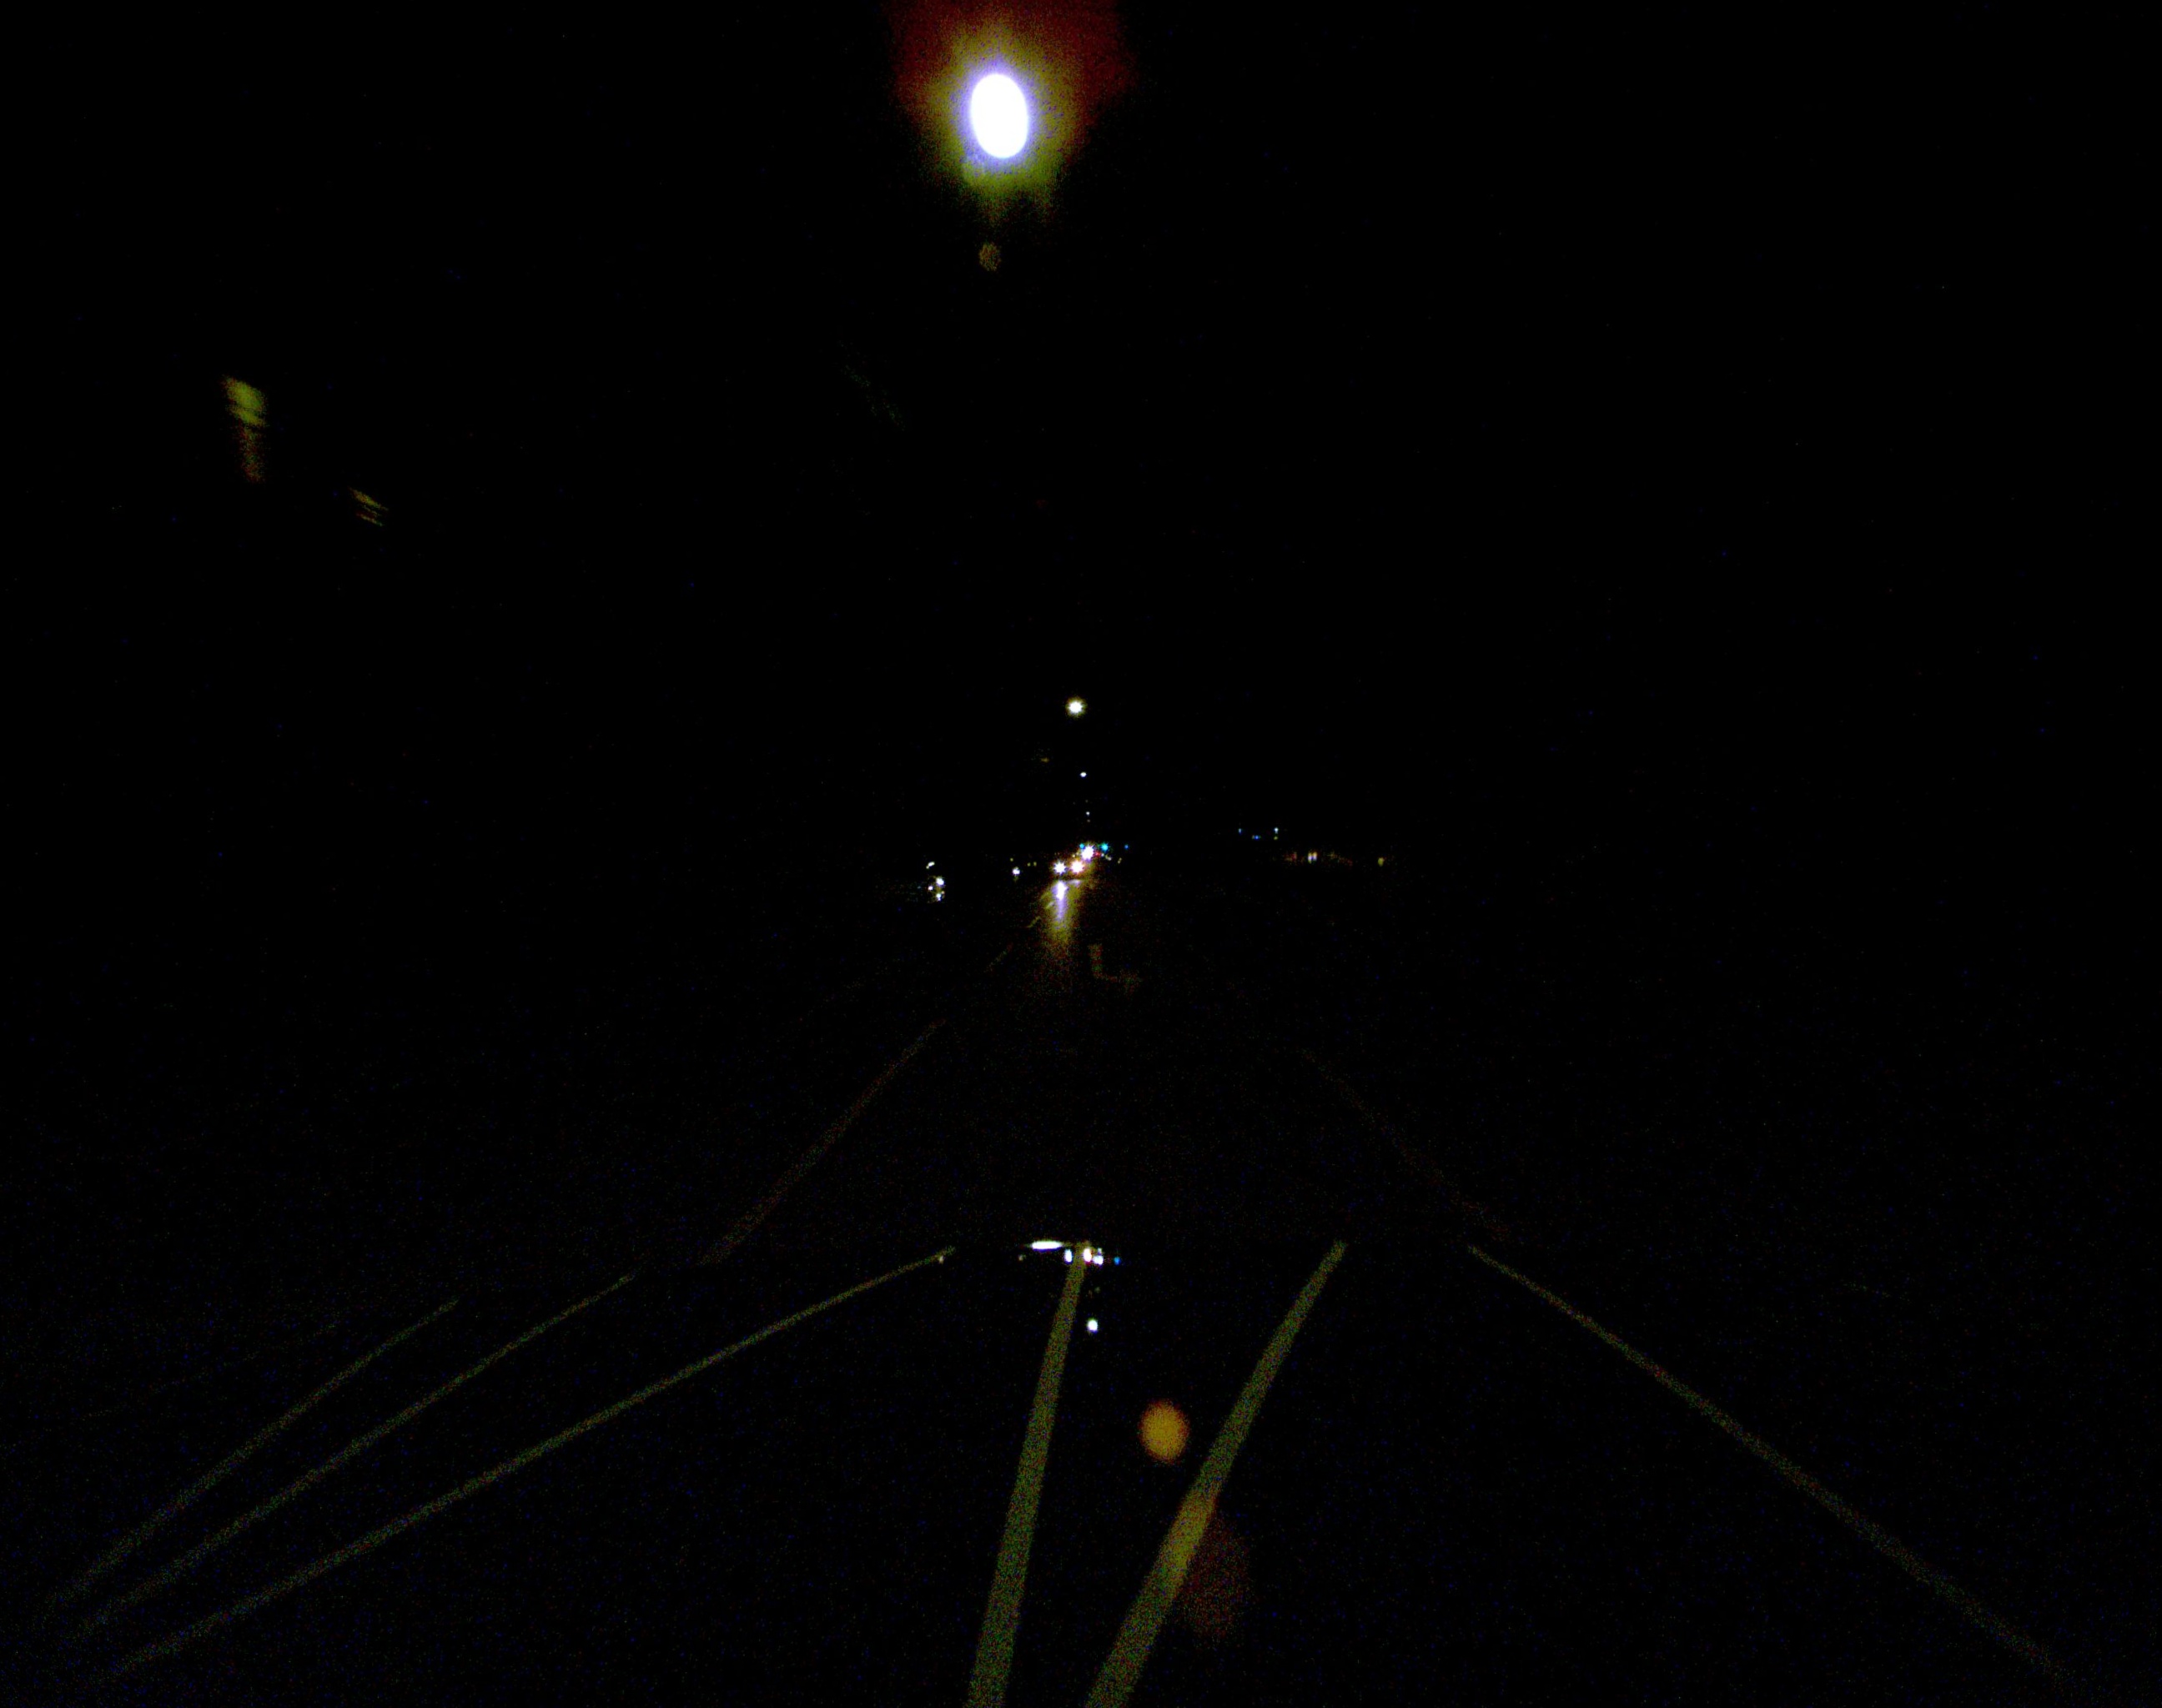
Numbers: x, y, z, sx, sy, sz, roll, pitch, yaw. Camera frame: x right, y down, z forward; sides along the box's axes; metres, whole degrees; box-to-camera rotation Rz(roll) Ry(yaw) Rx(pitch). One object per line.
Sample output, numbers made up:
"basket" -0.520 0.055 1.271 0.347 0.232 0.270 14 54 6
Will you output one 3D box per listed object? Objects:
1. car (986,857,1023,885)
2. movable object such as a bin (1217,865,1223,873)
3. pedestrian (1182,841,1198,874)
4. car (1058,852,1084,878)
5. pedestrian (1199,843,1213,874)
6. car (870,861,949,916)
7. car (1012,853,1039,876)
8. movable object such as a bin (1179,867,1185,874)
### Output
"car" -4.175 0.913 41.803 1.536 1.407 3.408 -1 1 2
"movable object such as a bin" 6.927 0.751 37.972 0.231 0.404 0.466 -3 1 3
"pedestrian" 5.483 0.184 38.299 0.649 1.632 0.747 -3 1 3
"car" -0.657 0.683 50.077 1.513 1.493 3.049 -4 1 -1
"pedestrian" 6.241 0.216 37.871 0.561 1.521 0.590 -3 1 1
"car" -5.107 0.984 22.990 1.626 1.485 3.408 -1 1 0
"car" -4.010 0.735 55.250 1.536 1.583 3.556 -1 1 2
"movable object such as a bin" 5.240 0.863 39.379 0.231 0.350 0.466 -3 1 3
